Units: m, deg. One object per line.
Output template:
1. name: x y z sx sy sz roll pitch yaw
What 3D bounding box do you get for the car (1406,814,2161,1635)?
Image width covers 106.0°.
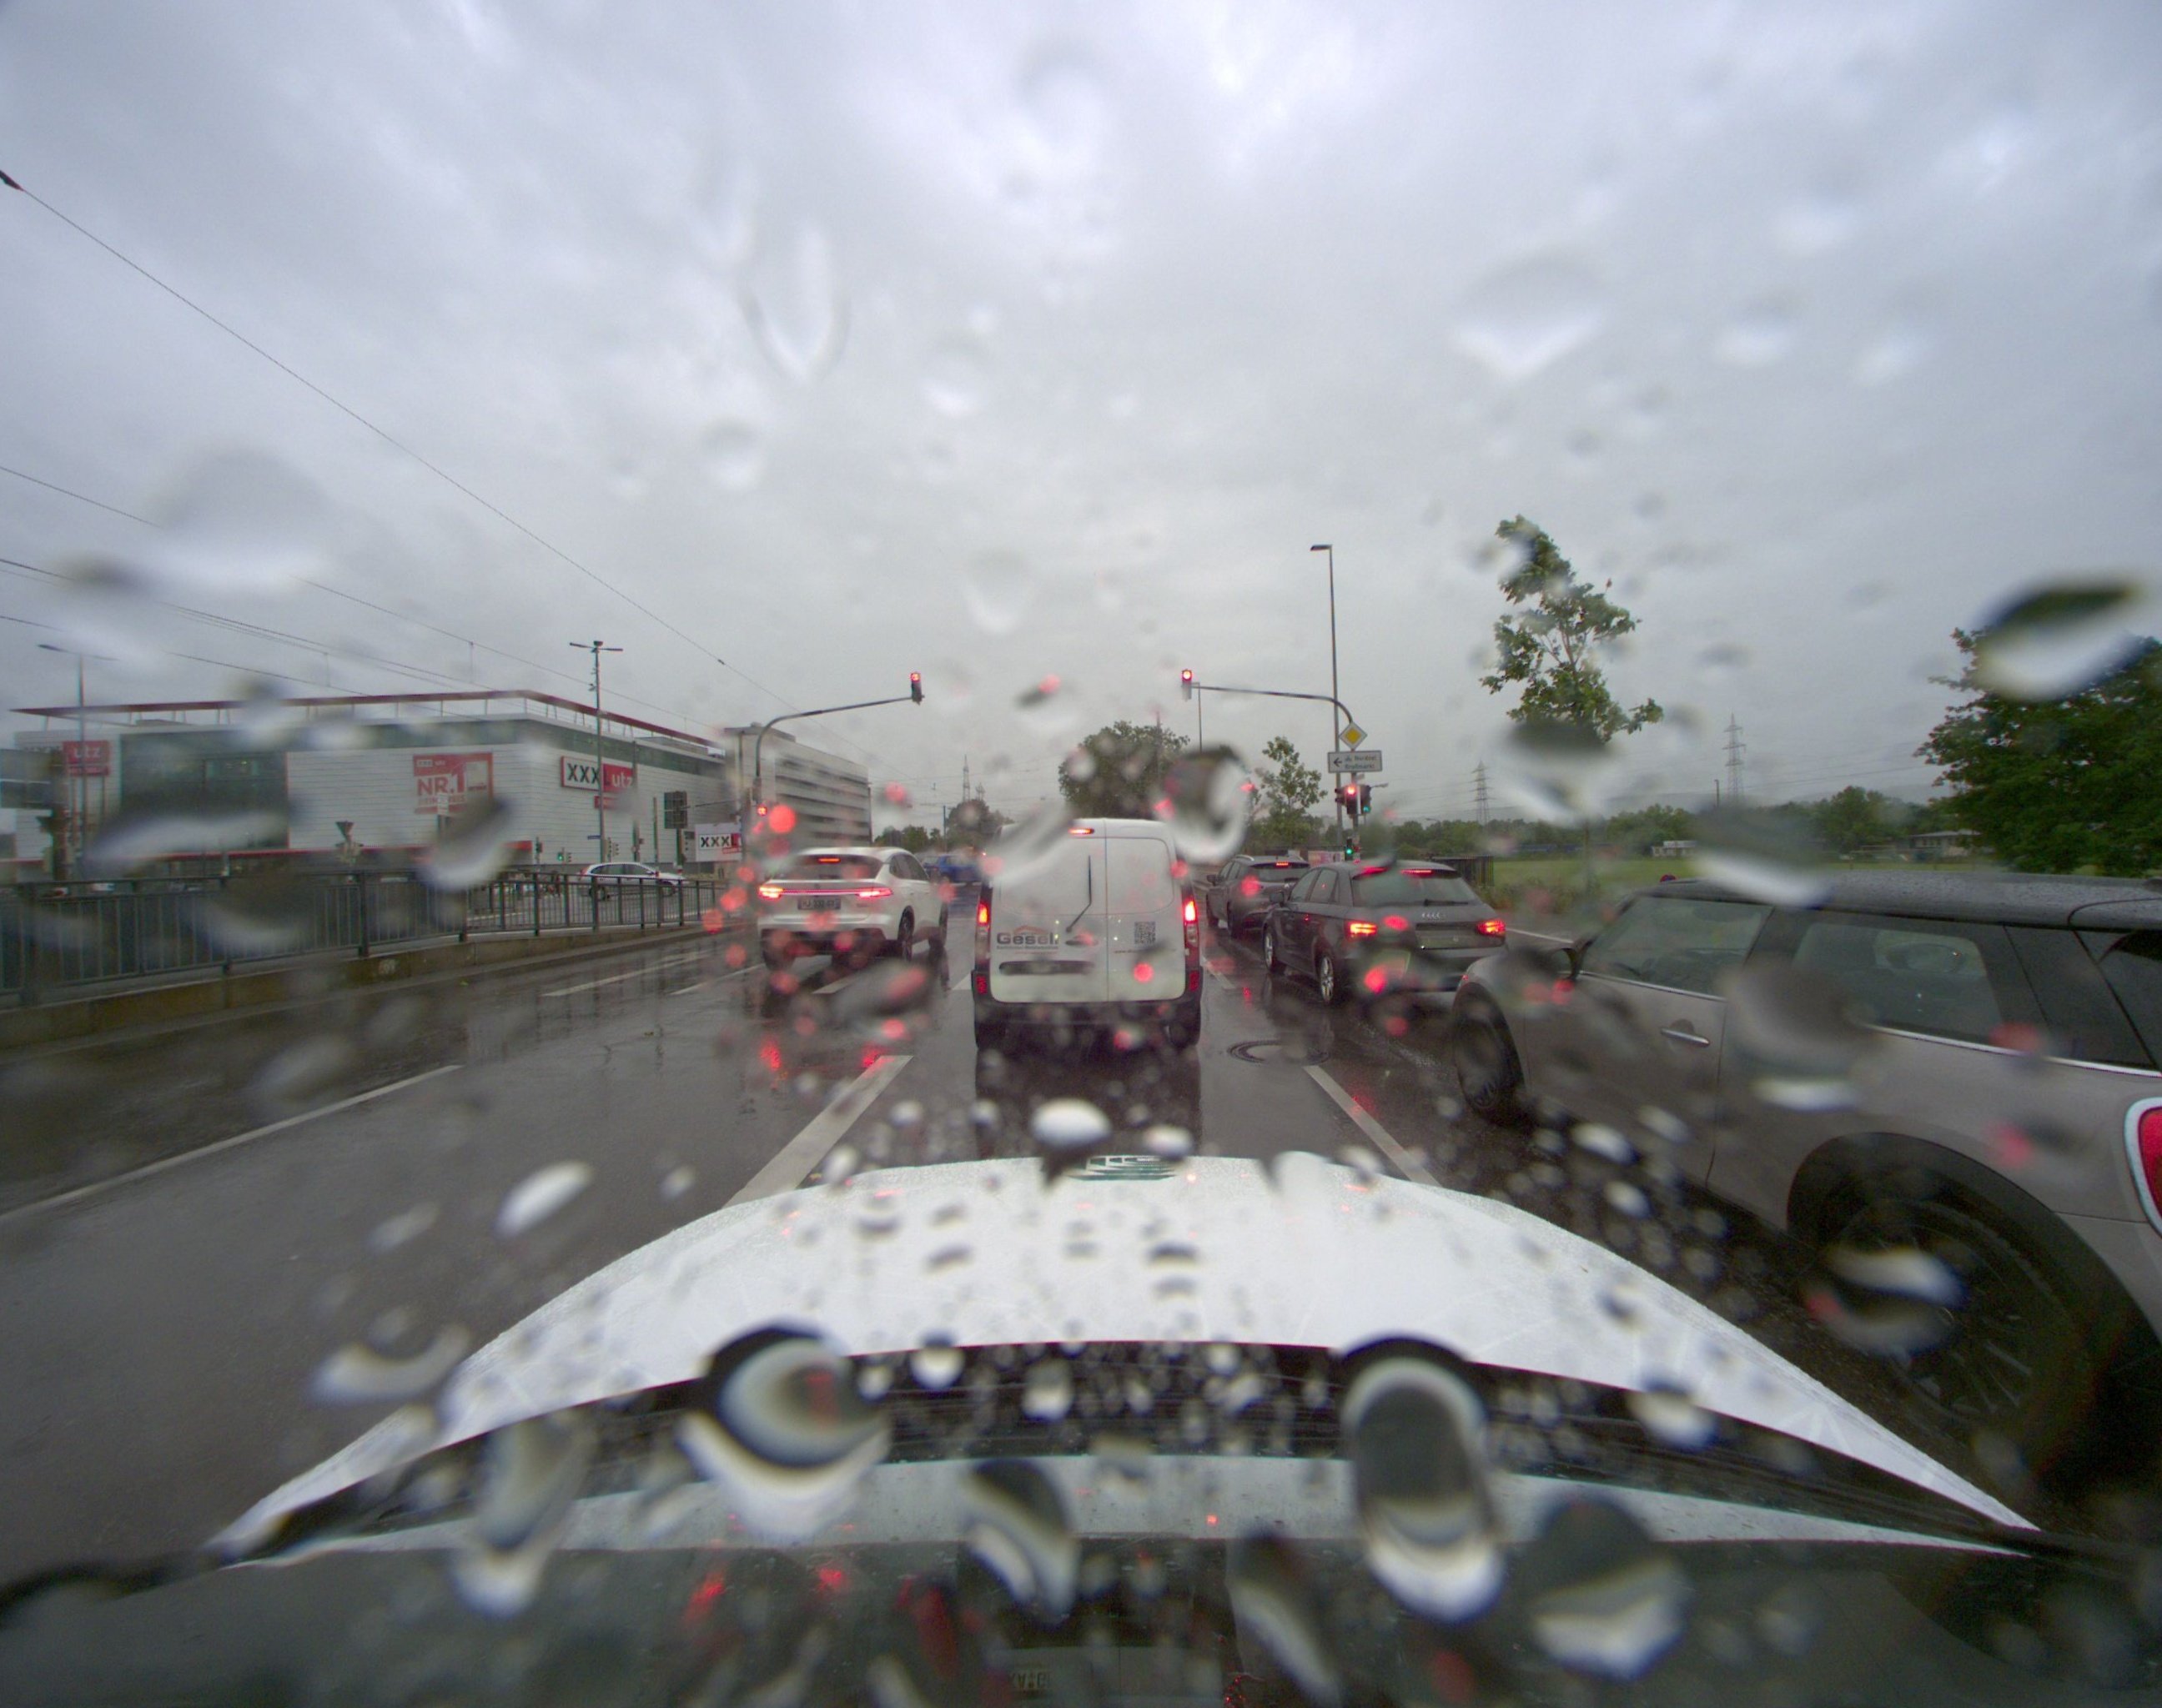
1. car: 2.911 0.704 3.329 1.696 1.508 3.881 1 0 2

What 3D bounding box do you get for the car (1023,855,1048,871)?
1. car: -4.061 0.811 73.569 1.636 1.398 3.461 2 0 7

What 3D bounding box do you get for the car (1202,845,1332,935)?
1. car: 3.407 0.609 15.609 1.678 1.508 3.921 0 0 1

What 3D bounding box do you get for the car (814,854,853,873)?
1. car: -19.321 0.778 63.722 1.704 1.426 3.810 1 -1 2

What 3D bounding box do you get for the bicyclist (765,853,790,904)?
1. bicyclist: -8.884 0.704 23.801 0.607 1.491 0.594 0 -1 -28

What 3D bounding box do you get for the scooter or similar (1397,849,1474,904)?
1. scooter or similar: 8.532 0.499 19.766 0.687 1.211 3.022 -2 0 3

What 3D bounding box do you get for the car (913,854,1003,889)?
1. car: -5.580 0.792 37.130 3.763 1.507 1.631 1 -1 -42

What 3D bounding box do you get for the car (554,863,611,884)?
1. car: -34.693 1.336 56.788 1.473 1.354 3.810 1 -1 2

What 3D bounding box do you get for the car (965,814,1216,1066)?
1. car: 0.019 0.575 7.806 1.749 1.750 4.166 -1 1 -2

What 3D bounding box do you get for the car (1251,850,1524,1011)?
1. car: 3.083 0.712 8.991 1.592 1.366 3.629 -2 -1 0

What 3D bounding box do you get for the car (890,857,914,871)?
1. car: -18.593 1.018 84.522 1.554 1.426 3.570 1 -1 2

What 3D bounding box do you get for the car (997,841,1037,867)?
1. car: -4.290 0.013 54.883 1.691 1.674 3.807 2 0 10

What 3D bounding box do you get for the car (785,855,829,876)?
1. car: -19.418 0.815 57.814 1.704 1.426 3.810 1 -1 2

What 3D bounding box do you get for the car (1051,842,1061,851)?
1. car: -5.111 -1.496 164.234 1.942 1.662 4.461 1 -1 -1

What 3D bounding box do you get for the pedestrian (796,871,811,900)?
1. pedestrian: -8.816 0.990 25.876 0.314 0.897 0.380 1 0 -1

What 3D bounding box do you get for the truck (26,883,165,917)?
1. truck: -60.070 2.773 49.722 5.859 1.942 2.012 1 -1 0

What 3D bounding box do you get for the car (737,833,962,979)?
1. car: -3.162 0.645 12.270 1.923 1.775 4.665 0 0 2

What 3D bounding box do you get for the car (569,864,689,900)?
1. car: -19.270 1.200 34.912 4.253 1.428 1.639 1 -1 -21

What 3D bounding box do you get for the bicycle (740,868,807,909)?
1. bicycle: -8.951 0.989 23.698 1.764 1.137 0.515 0 -1 -30
